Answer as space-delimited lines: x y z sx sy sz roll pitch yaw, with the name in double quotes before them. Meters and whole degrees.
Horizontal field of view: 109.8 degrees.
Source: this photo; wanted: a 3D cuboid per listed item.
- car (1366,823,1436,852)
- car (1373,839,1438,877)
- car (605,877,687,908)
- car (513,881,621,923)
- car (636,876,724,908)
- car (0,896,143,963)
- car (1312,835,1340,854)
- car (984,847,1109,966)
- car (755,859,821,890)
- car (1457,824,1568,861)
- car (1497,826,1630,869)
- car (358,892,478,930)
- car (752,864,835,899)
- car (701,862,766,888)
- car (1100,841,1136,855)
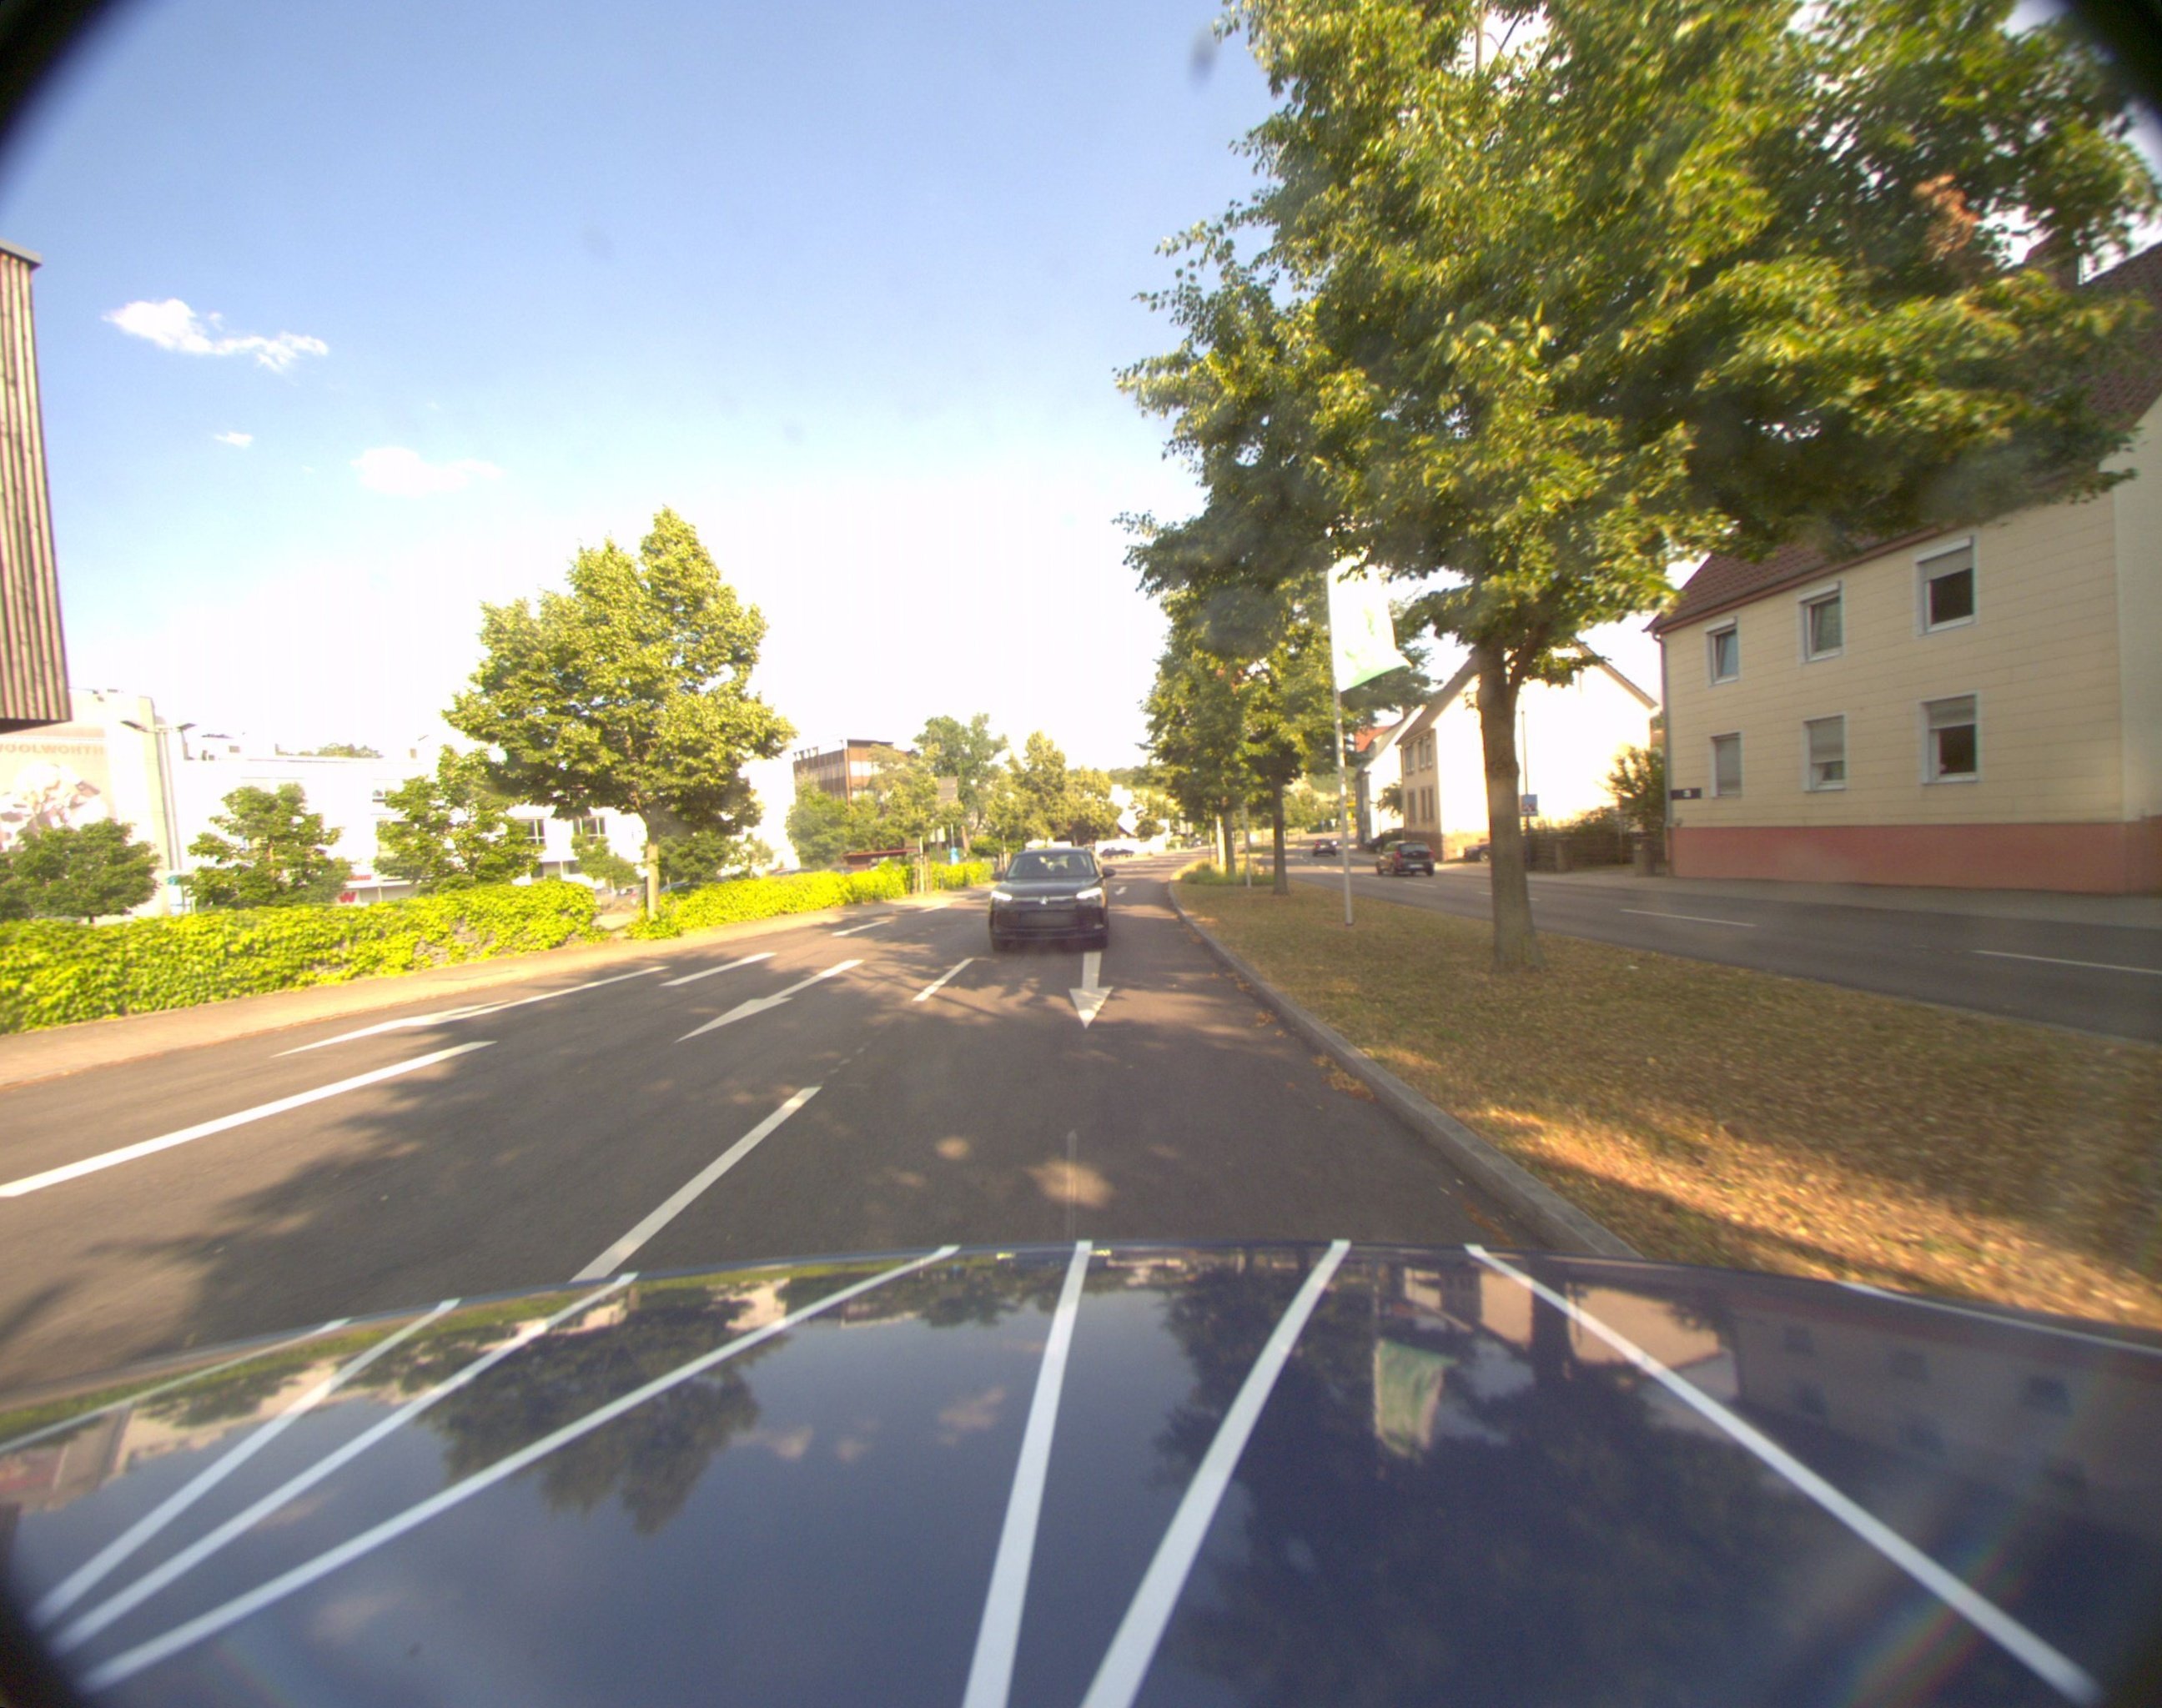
"car" 25.157 -1.304 59.887 4.831 1.866 2.002 -5 1 17
"car" 13.674 0.116 32.221 1.608 1.477 3.786 -2 1 9
"car" -25.894 2.276 45.362 1.997 1.435 3.955 -3 1 13
"car" -27.072 2.494 40.216 1.891 1.713 4.320 -6 0 18
"car" -23.340 2.165 44.487 1.997 1.435 4.551 -3 1 13
"car" -30.457 2.220 21.732 1.996 1.619 4.004 -3 1 16
"car" 20.738 -0.802 64.421 1.943 1.477 4.328 -2 1 14
"car" -0.522 0.728 13.005 1.725 1.605 4.259 -2 1 -1
"car" -20.663 1.379 53.809 1.997 1.844 4.651 -3 1 13
"car" 20.657 -0.560 36.566 4.351 1.477 2.014 -3 1 22
"car" 19.849 -0.271 31.512 4.351 1.477 1.949 -3 1 23
"car" -37.100 3.171 42.670 1.995 1.638 4.554 -3 1 23
"car" -15.988 1.494 42.518 1.997 1.523 4.551 -5 0 13
"car" -26.350 1.553 57.799 1.997 1.638 4.551 -3 1 13
"car" 4.408 -0.705 90.290 3.830 1.412 1.940 -3 1 18
